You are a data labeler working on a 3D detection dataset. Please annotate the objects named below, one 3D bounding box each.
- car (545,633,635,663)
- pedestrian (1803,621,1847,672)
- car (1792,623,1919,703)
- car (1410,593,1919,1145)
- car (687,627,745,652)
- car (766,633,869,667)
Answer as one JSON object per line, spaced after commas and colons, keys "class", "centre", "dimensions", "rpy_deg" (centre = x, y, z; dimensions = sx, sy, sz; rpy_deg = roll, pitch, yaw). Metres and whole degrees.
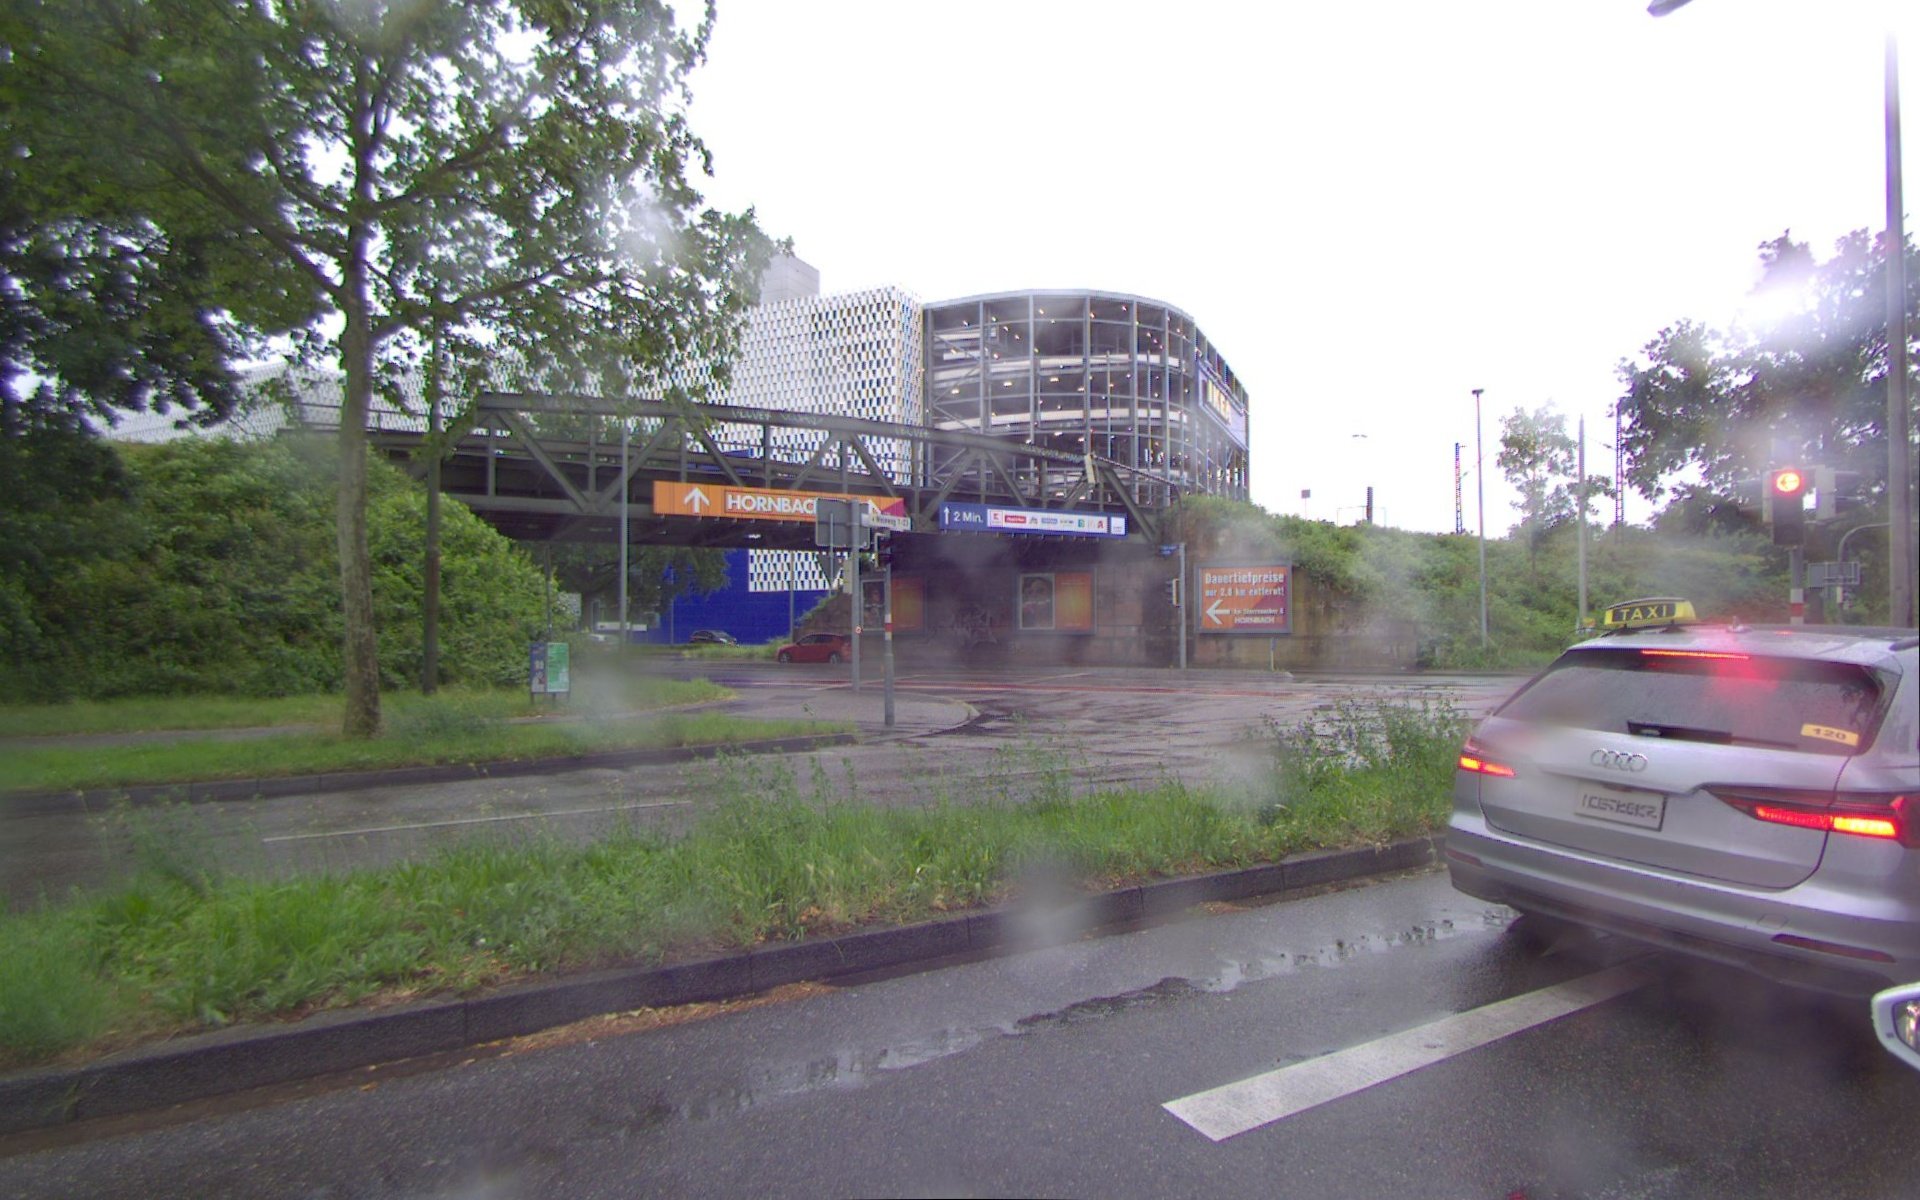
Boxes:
{"class": "car", "centre": [-18.454, 2.380, 50.062], "dimensions": [4.131, 1.392, 1.746], "rpy_deg": [0, -2, 24]}
{"class": "pedestrian", "centre": [32.374, 1.735, 37.597], "dimensions": [1.122, 1.871, 1.092], "rpy_deg": [2, -2, -41]}
{"class": "car", "centre": [18.990, 1.241, 19.813], "dimensions": [3.750, 1.510, 1.675], "rpy_deg": [0, -1, 31]}
{"class": "car", "centre": [4.440, 0.812, 4.830], "dimensions": [4.766, 1.595, 1.760], "rpy_deg": [1, 0, -31]}
{"class": "car", "centre": [-18.114, 2.915, 74.562], "dimensions": [3.924, 1.776, 1.790], "rpy_deg": [-1, -2, 25]}
{"class": "car", "centre": [-6.166, 2.136, 43.542], "dimensions": [4.131, 1.392, 1.746], "rpy_deg": [0, -2, 24]}
